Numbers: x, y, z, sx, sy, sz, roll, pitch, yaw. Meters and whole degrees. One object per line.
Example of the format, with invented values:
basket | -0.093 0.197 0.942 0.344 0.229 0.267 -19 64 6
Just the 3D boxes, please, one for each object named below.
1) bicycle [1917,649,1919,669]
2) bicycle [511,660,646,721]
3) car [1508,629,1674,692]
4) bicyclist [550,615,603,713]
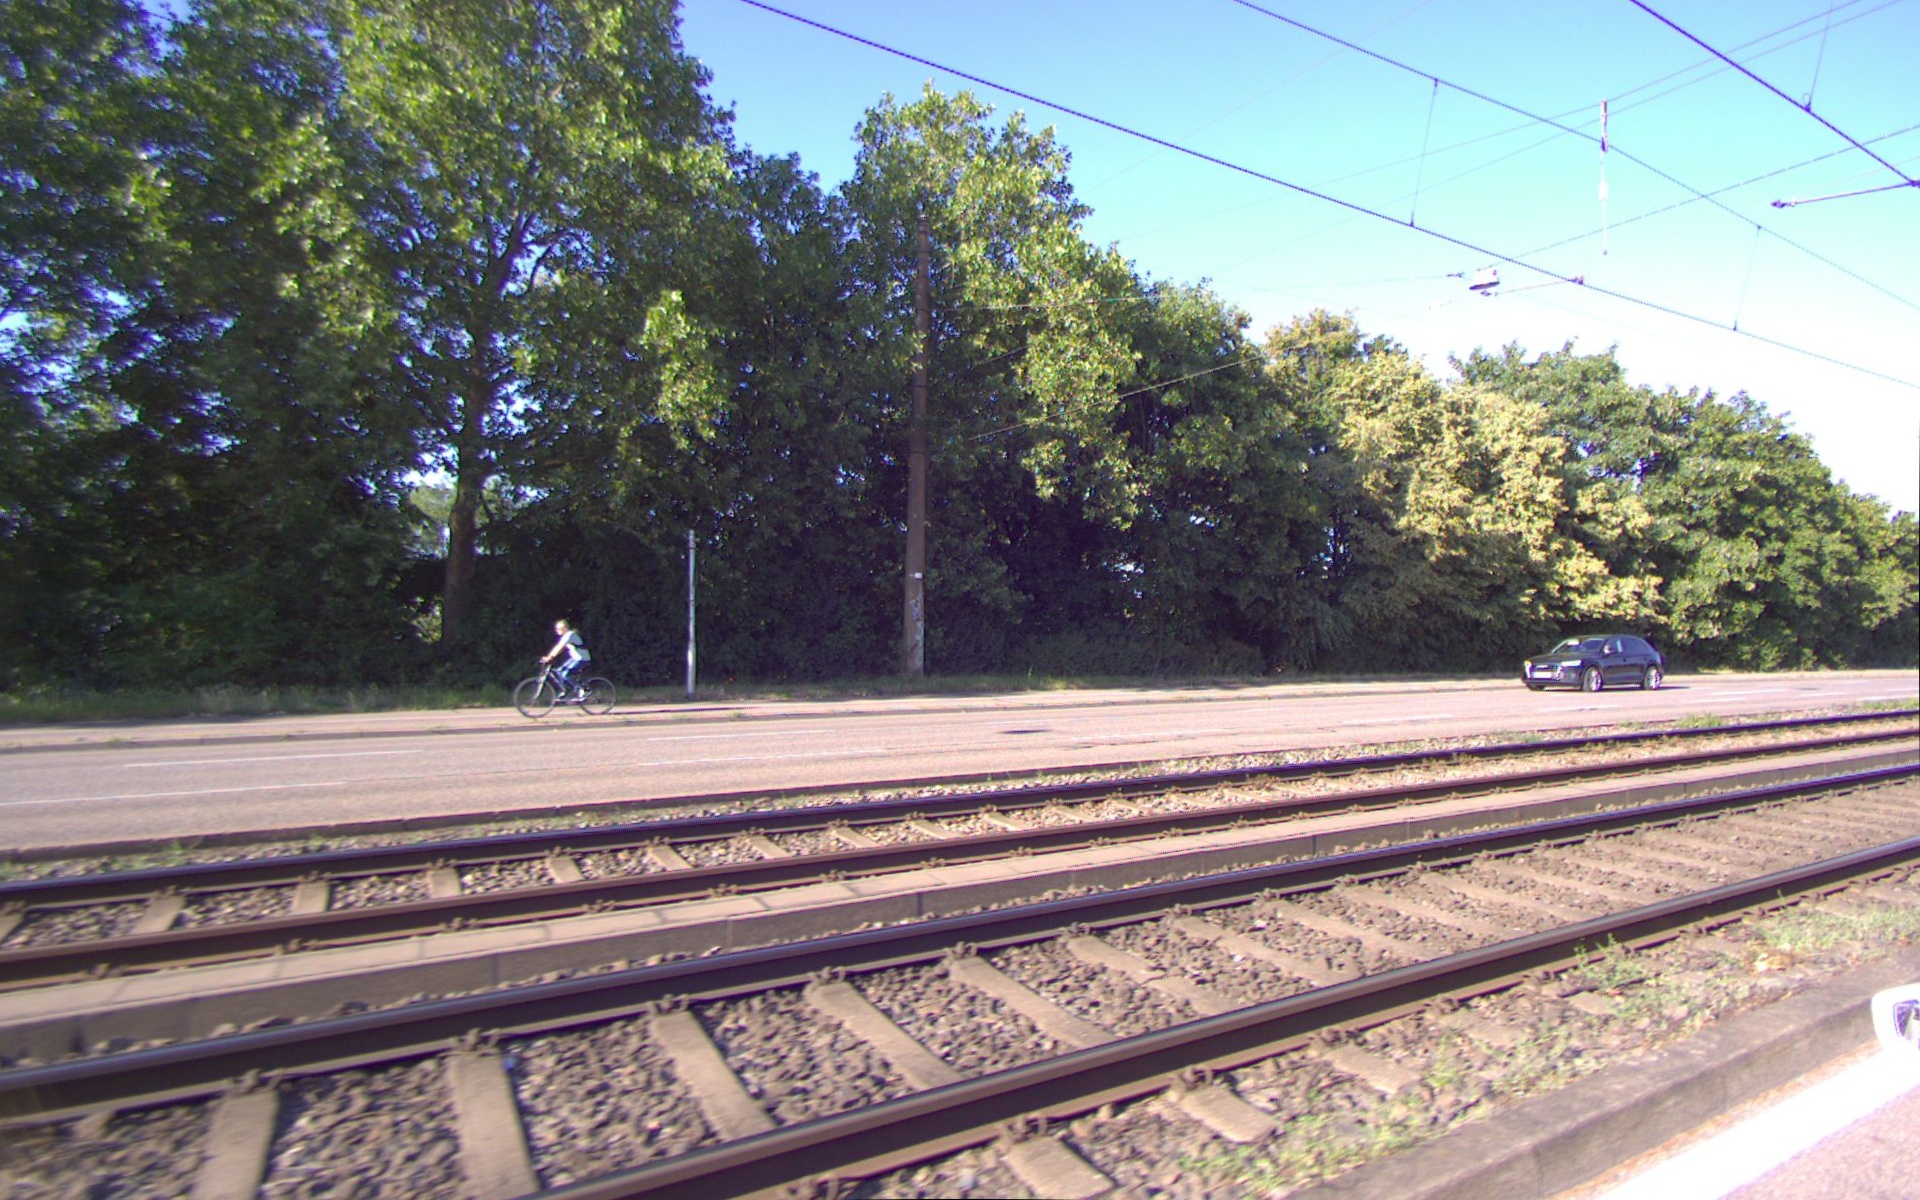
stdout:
bicycle | 43.679 2.654 45.036 2.001 0.904 0.506 2 0 -27
bicycle | -6.829 1.605 18.046 2.210 0.999 0.548 2 0 -27
car | 18.569 1.765 29.528 4.733 1.707 1.987 2 -3 -27
bicyclist | -6.902 1.135 18.062 0.809 1.713 0.548 1 0 -26
